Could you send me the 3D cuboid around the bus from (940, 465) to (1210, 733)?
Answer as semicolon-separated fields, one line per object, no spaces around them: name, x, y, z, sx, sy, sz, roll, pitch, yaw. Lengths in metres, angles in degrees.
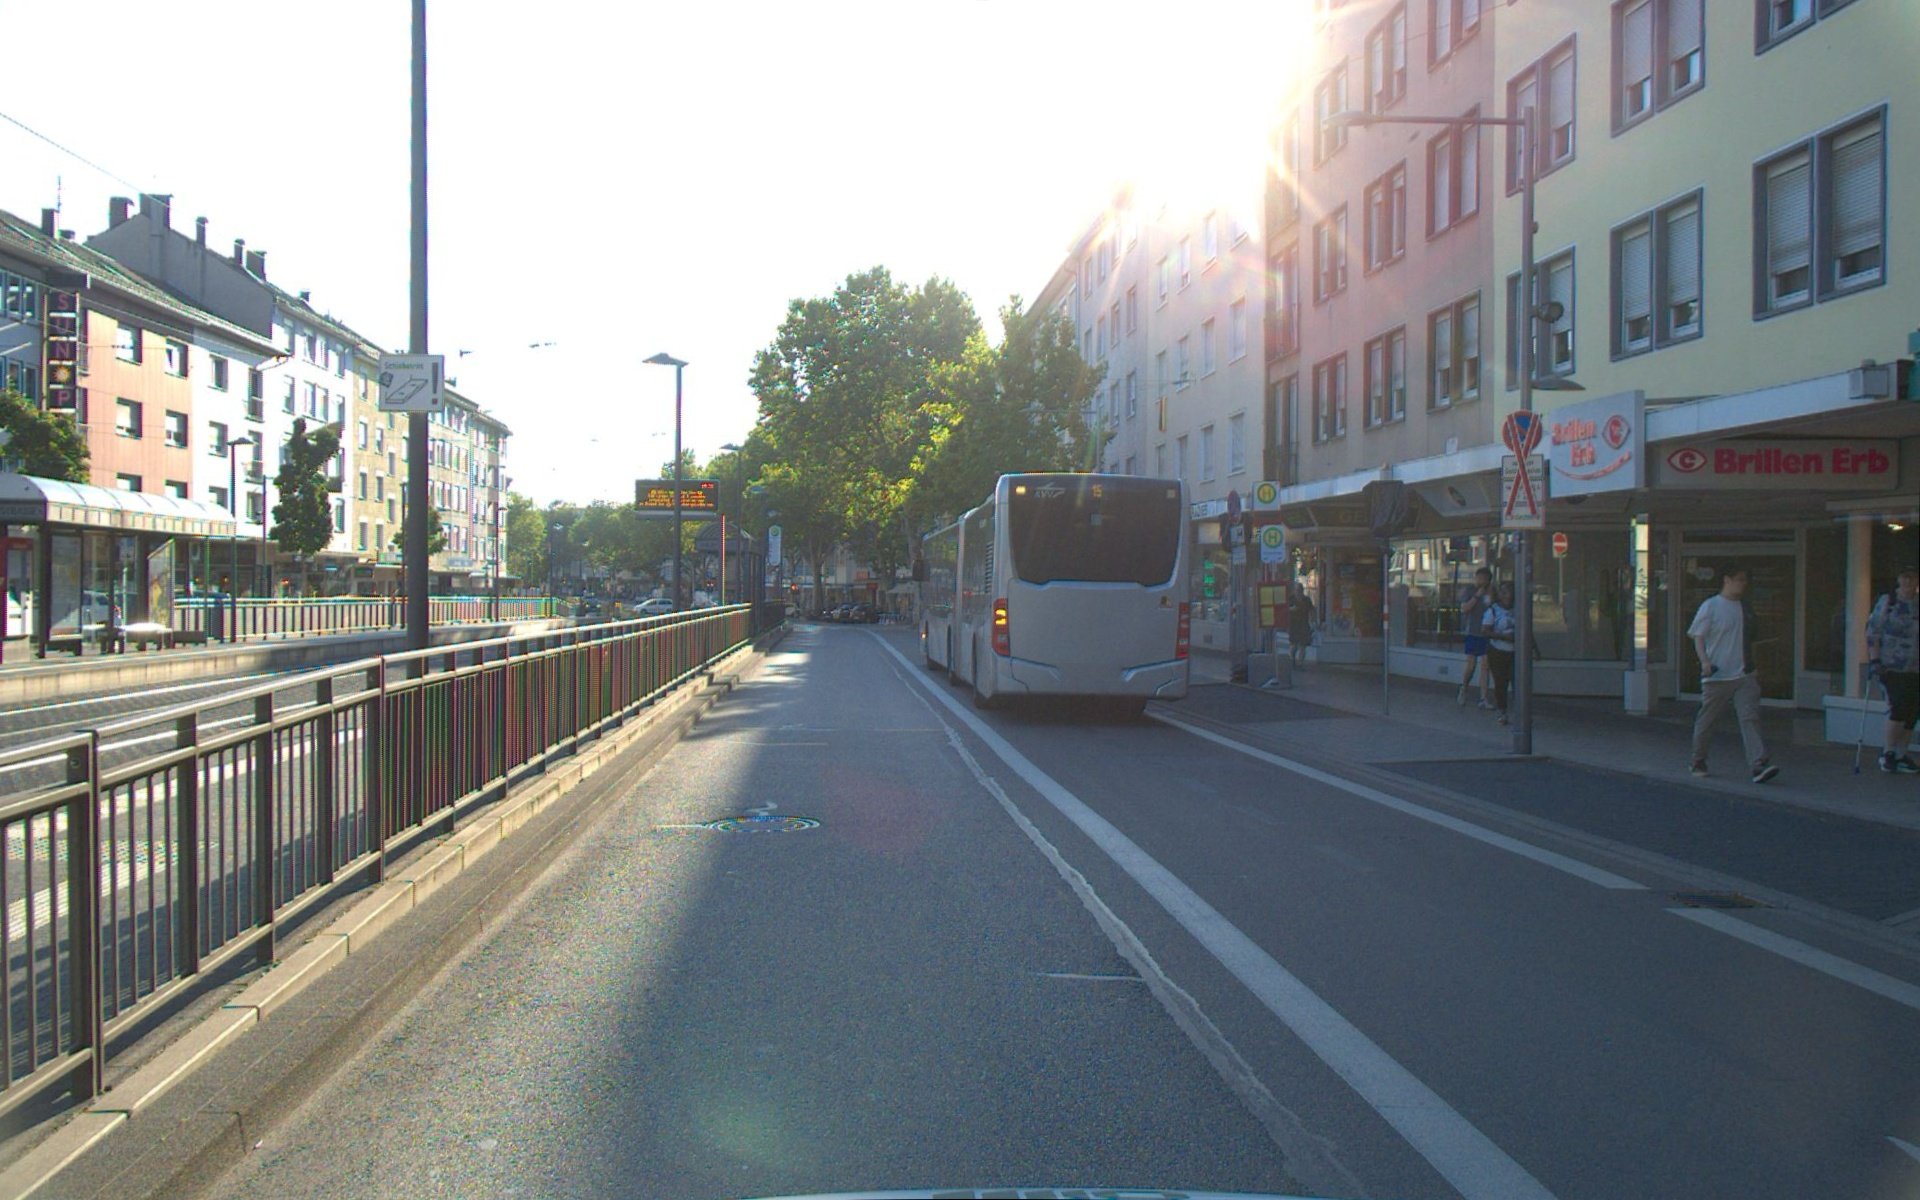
bus;1.339;-0.024;24.647;2.643;3.172;9.373;1;0;-4

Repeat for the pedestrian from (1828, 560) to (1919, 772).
pedestrian;7.962;0.546;14.085;0.709;1.753;0.766;0;0;-5

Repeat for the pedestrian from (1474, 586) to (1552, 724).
pedestrian;6.564;0.636;19.670;0.598;1.606;0.850;0;0;-5

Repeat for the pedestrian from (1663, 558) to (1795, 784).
pedestrian;6.359;0.572;13.710;0.709;1.810;0.766;0;0;-5

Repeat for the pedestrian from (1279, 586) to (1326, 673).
pedestrian;6.628;0.561;32.053;0.709;1.661;0.766;0;0;-5

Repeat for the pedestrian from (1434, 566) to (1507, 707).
pedestrian;6.870;0.483;22.290;0.709;1.872;0.766;0;0;-5

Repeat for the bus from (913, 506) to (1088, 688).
bus;0.597;-0.061;33.814;2.643;3.172;9.062;1;0;-4

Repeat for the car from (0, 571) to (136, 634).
car;-25.284;0.053;46.380;1.734;1.709;3.499;1;0;34
